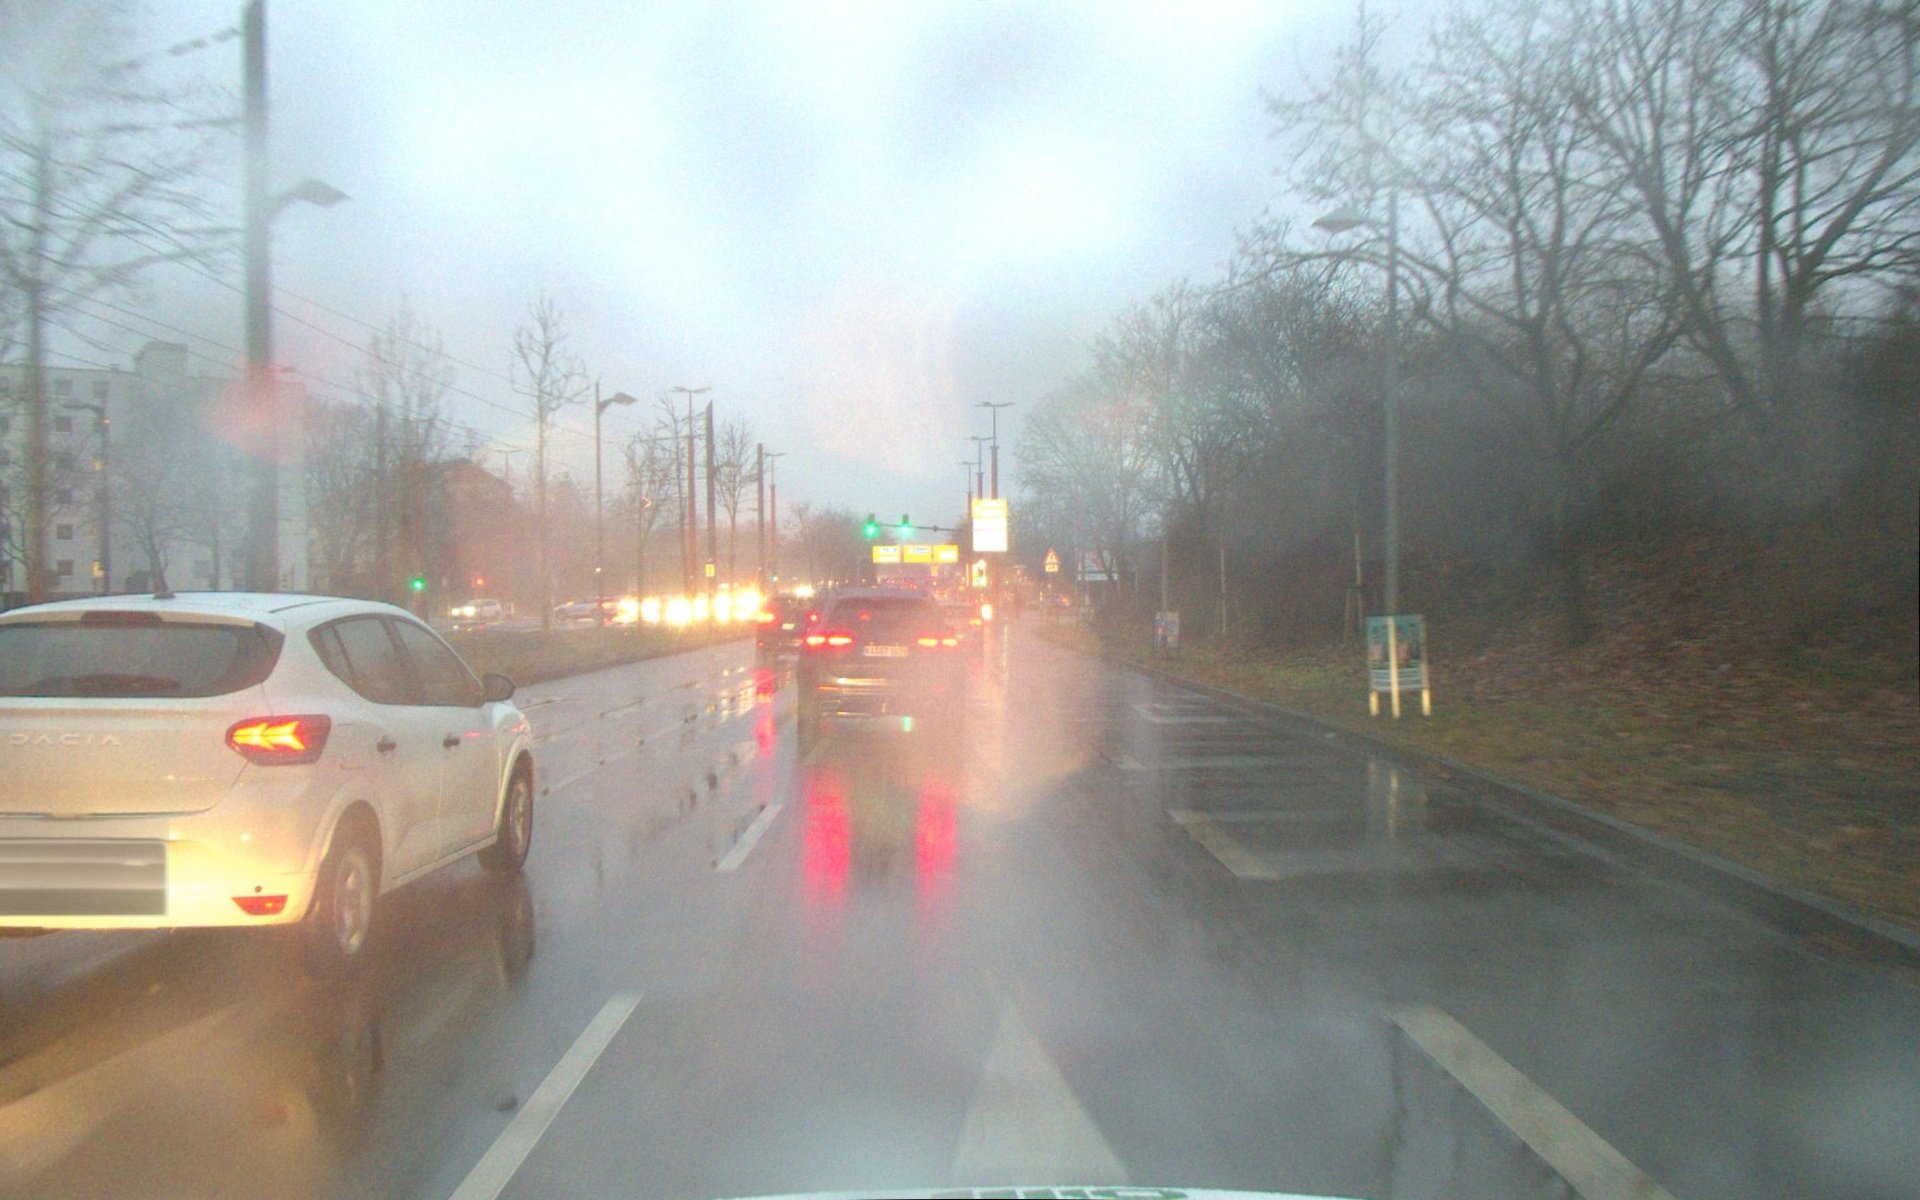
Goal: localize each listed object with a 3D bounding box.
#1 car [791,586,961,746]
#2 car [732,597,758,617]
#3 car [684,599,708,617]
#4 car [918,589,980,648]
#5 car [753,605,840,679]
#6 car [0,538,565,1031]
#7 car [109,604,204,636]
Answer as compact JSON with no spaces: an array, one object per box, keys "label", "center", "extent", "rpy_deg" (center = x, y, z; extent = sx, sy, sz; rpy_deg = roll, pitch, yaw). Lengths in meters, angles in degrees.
[{"label":"car","center":[-0.927,0.695,19.662],"extent":[1.785,1.677,4.465],"rpy_deg":[0,0,-1]},{"label":"car","center":[-17.807,0.582,136.998],"extent":[1.820,1.609,4.077],"rpy_deg":[0,0,-3]},{"label":"car","center":[-22.105,0.679,138.624],"extent":[1.619,1.445,3.325],"rpy_deg":[0,0,-2]},{"label":"car","center":[-0.355,0.529,49.488],"extent":[1.785,1.677,4.465],"rpy_deg":[0,0,-1]},{"label":"car","center":[-3.872,0.954,39.705],"extent":[1.785,1.677,3.999],"rpy_deg":[0,0,-1]},{"label":"car","center":[-3.140,0.629,7.714],"extent":[1.679,1.677,4.146],"rpy_deg":[0,0,-1]},{"label":"car","center":[-41.692,1.037,85.803],"extent":[4.377,1.571,1.834],"rpy_deg":[-1,0,-29]}]
